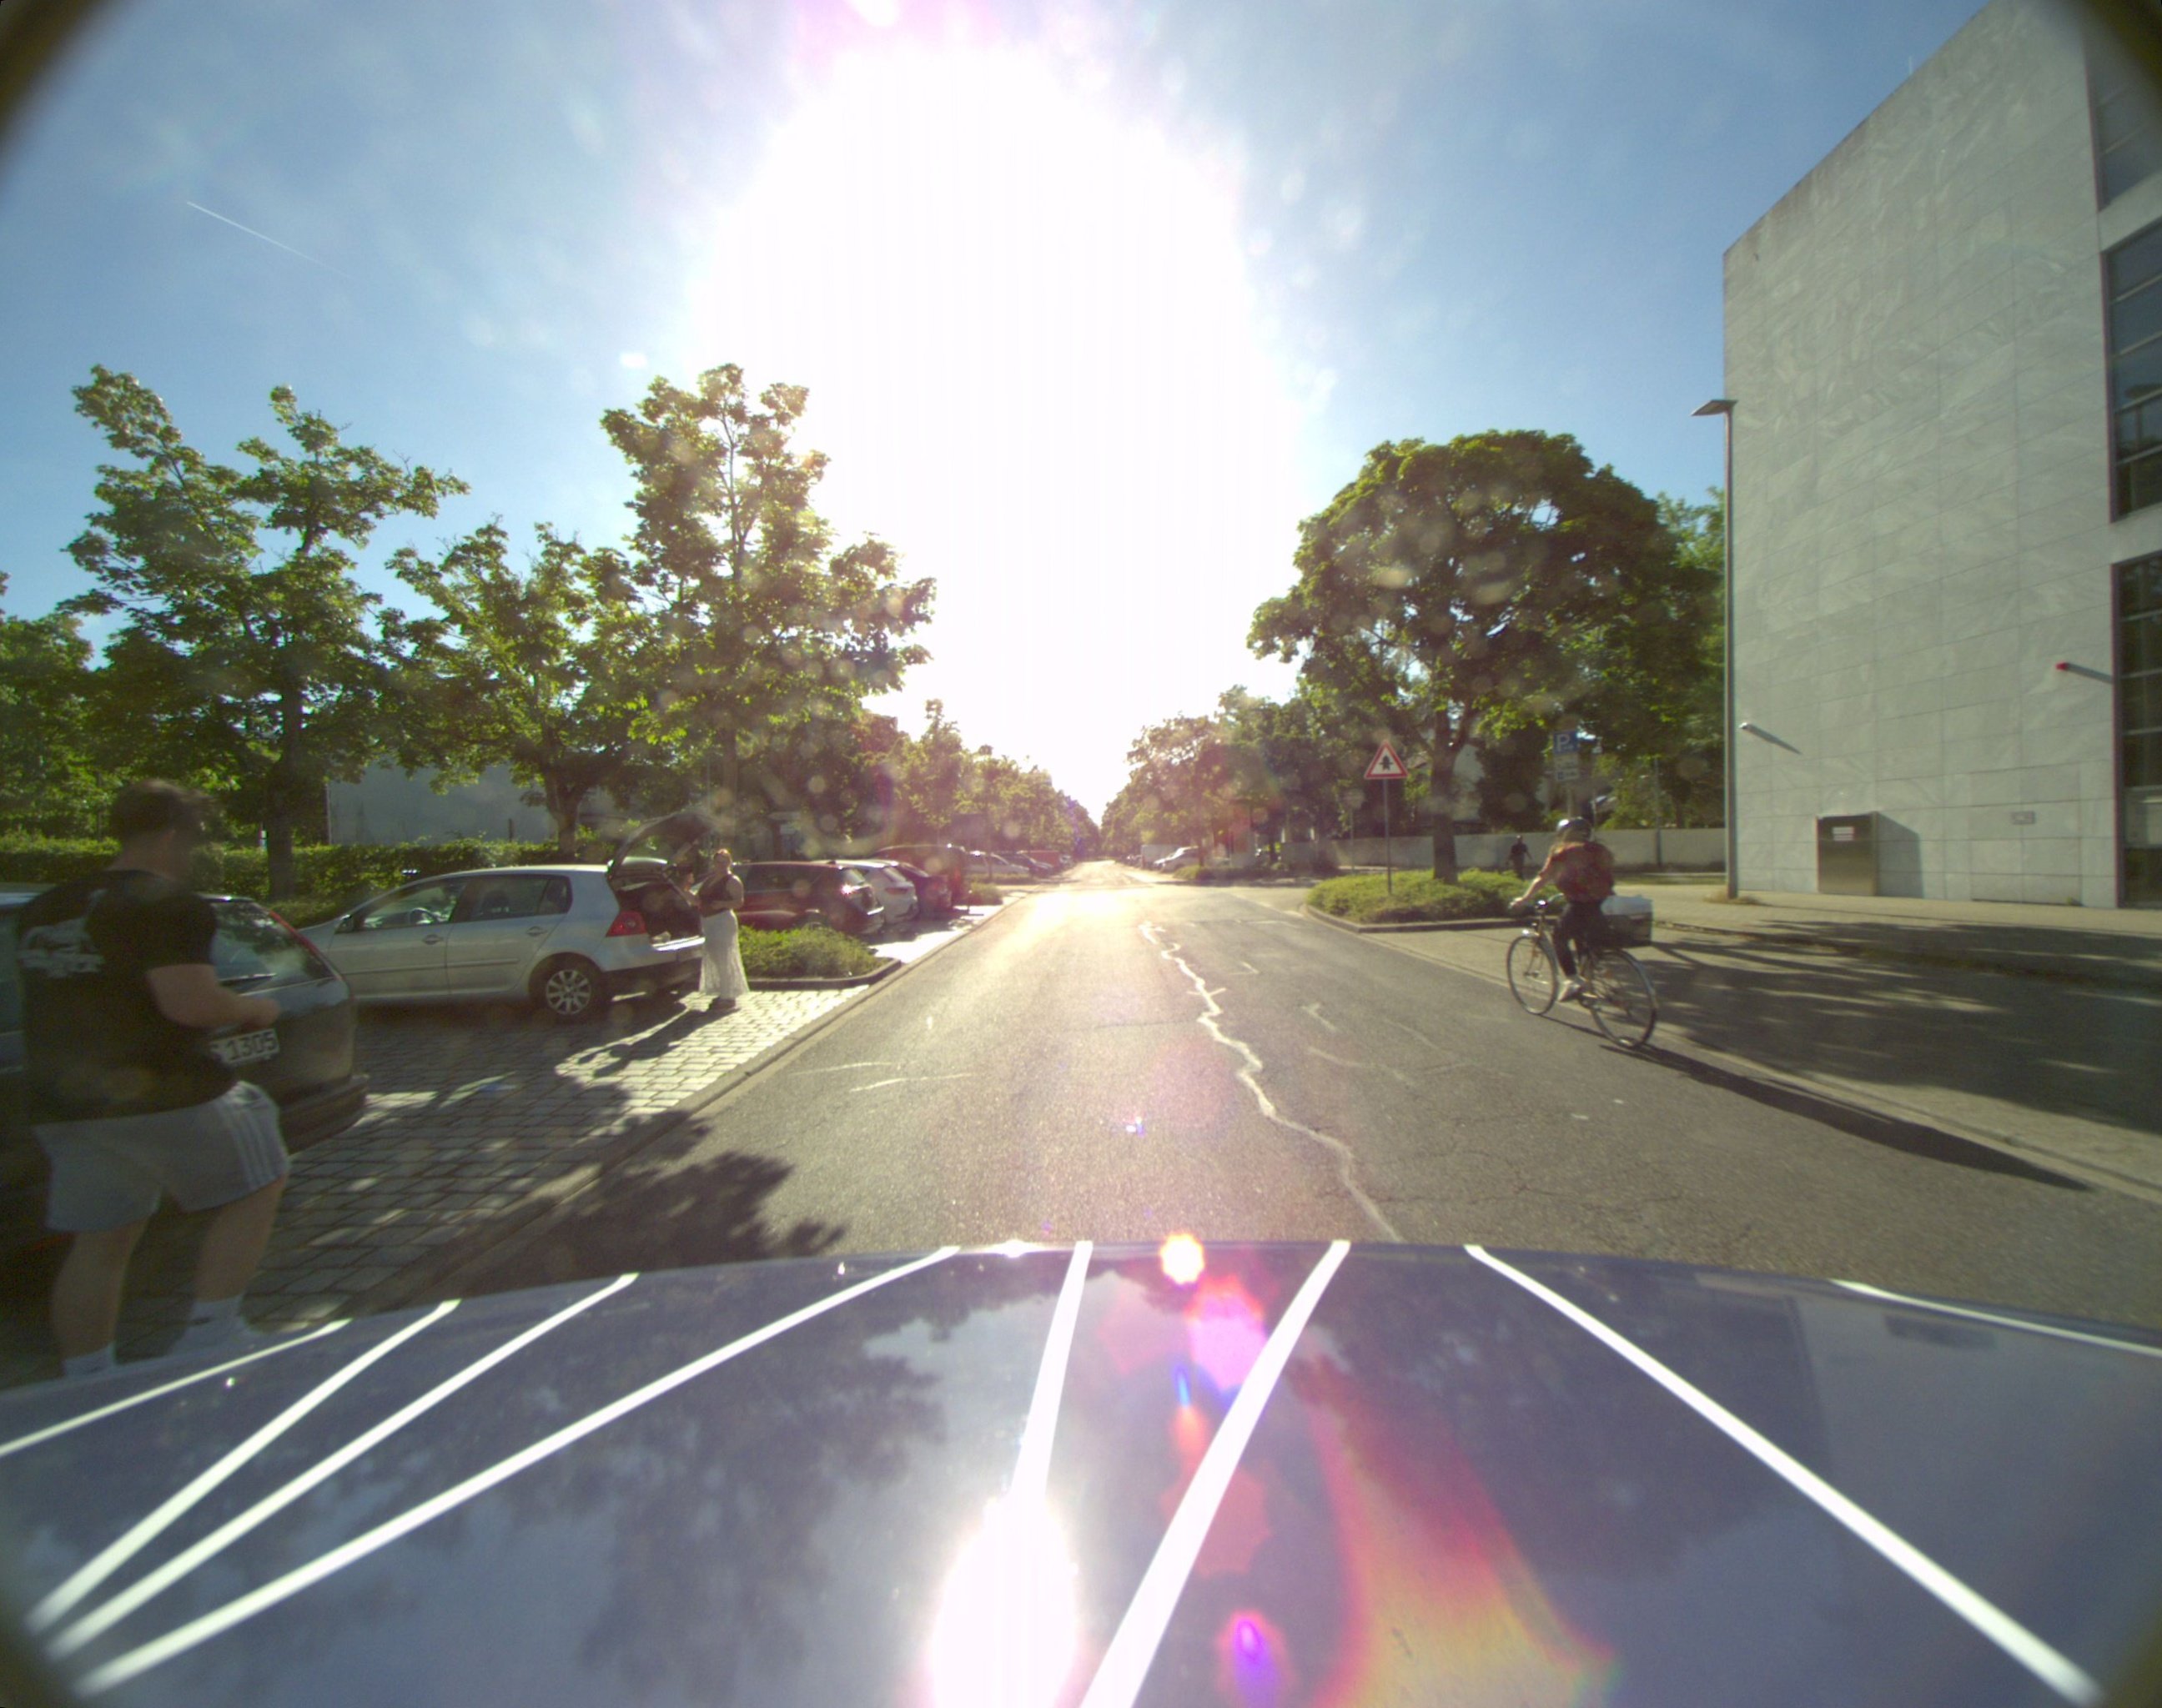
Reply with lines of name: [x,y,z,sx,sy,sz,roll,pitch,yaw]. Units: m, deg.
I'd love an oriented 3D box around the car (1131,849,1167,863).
car: [9.114,0.255,102.293,4.562,1.819,2.000,-1,0,0]

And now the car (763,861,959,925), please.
car: [-5.184,0.897,18.318,4.165,1.398,1.829,0,1,-1]

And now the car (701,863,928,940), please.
car: [-5.228,0.909,15.299,3.909,1.428,1.808,0,0,-1]

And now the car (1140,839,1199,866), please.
car: [8.104,-0.115,70.036,5.131,2.364,2.000,-1,0,0]

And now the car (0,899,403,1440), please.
car: [-5.304,1.003,2.680,4.196,1.511,1.736,-1,1,-1]

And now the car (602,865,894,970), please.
car: [-5.196,0.961,12.239,3.909,1.418,1.672,-1,2,-1]

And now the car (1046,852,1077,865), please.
car: [-2.679,0.603,103.972,4.257,1.706,1.973,0,1,-1]

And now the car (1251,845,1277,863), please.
car: [17.178,-0.050,71.567,1.833,1.605,4.145,0,1,5]

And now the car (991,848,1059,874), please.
car: [-3.920,0.494,53.514,4.661,1.762,1.829,0,1,-1]

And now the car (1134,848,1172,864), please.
car: [9.104,0.272,96.601,4.562,1.819,2.000,-1,0,0]

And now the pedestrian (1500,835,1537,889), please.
pedestrian: [14.038,0.254,24.405,0.837,1.675,0.808,0,1,14]

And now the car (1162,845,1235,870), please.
car: [7.940,0.253,51.840,4.684,1.398,1.829,-4,1,2]

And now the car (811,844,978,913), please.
car: [-5.130,0.645,21.327,4.165,1.836,1.880,0,1,1]

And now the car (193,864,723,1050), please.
car: [-5.985,0.932,7.669,3.909,1.568,1.680,-1,0,-1]

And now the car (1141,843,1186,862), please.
car: [8.621,-0.161,79.661,4.562,1.819,2.000,-1,0,0]

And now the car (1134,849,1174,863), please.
car: [8.632,0.252,89.783,4.562,1.590,2.000,-1,0,0]

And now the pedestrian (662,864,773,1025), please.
pedestrian: [-3.728,0.903,7.848,0.766,1.570,0.674,-2,0,1]

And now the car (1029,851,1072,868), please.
car: [-3.021,0.516,76.064,4.257,1.605,1.973,0,1,-1]

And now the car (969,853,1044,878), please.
car: [-4.278,0.661,44.131,4.165,1.398,1.829,0,1,-1]

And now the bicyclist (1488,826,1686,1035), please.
bicyclist: [3.757,0.517,5.756,0.759,1.423,1.132,0,1,3]

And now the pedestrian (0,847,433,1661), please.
pedestrian: [-2.713,0.867,2.146,0.721,1.761,1.168,0,1,0]

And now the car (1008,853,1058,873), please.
car: [-3.646,0.658,58.328,3.784,1.465,1.768,0,1,-1]

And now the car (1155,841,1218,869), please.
car: [8.198,0.087,59.497,4.632,1.979,2.000,-1,0,0]

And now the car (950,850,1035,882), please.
car: [-4.541,0.589,39.503,4.165,1.589,1.829,0,1,-1]

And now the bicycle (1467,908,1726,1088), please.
bicycle: [3.768,0.988,5.796,0.759,0.996,1.872,0,1,3]

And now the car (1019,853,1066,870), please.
car: [-3.521,0.679,70.164,4.257,1.562,1.973,0,1,-1]

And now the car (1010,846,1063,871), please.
car: [-3.659,0.386,62.780,4.257,2.020,1.973,0,1,-1]

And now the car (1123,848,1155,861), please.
car: [8.646,0.022,113.383,4.562,1.819,2.000,-1,0,0]
